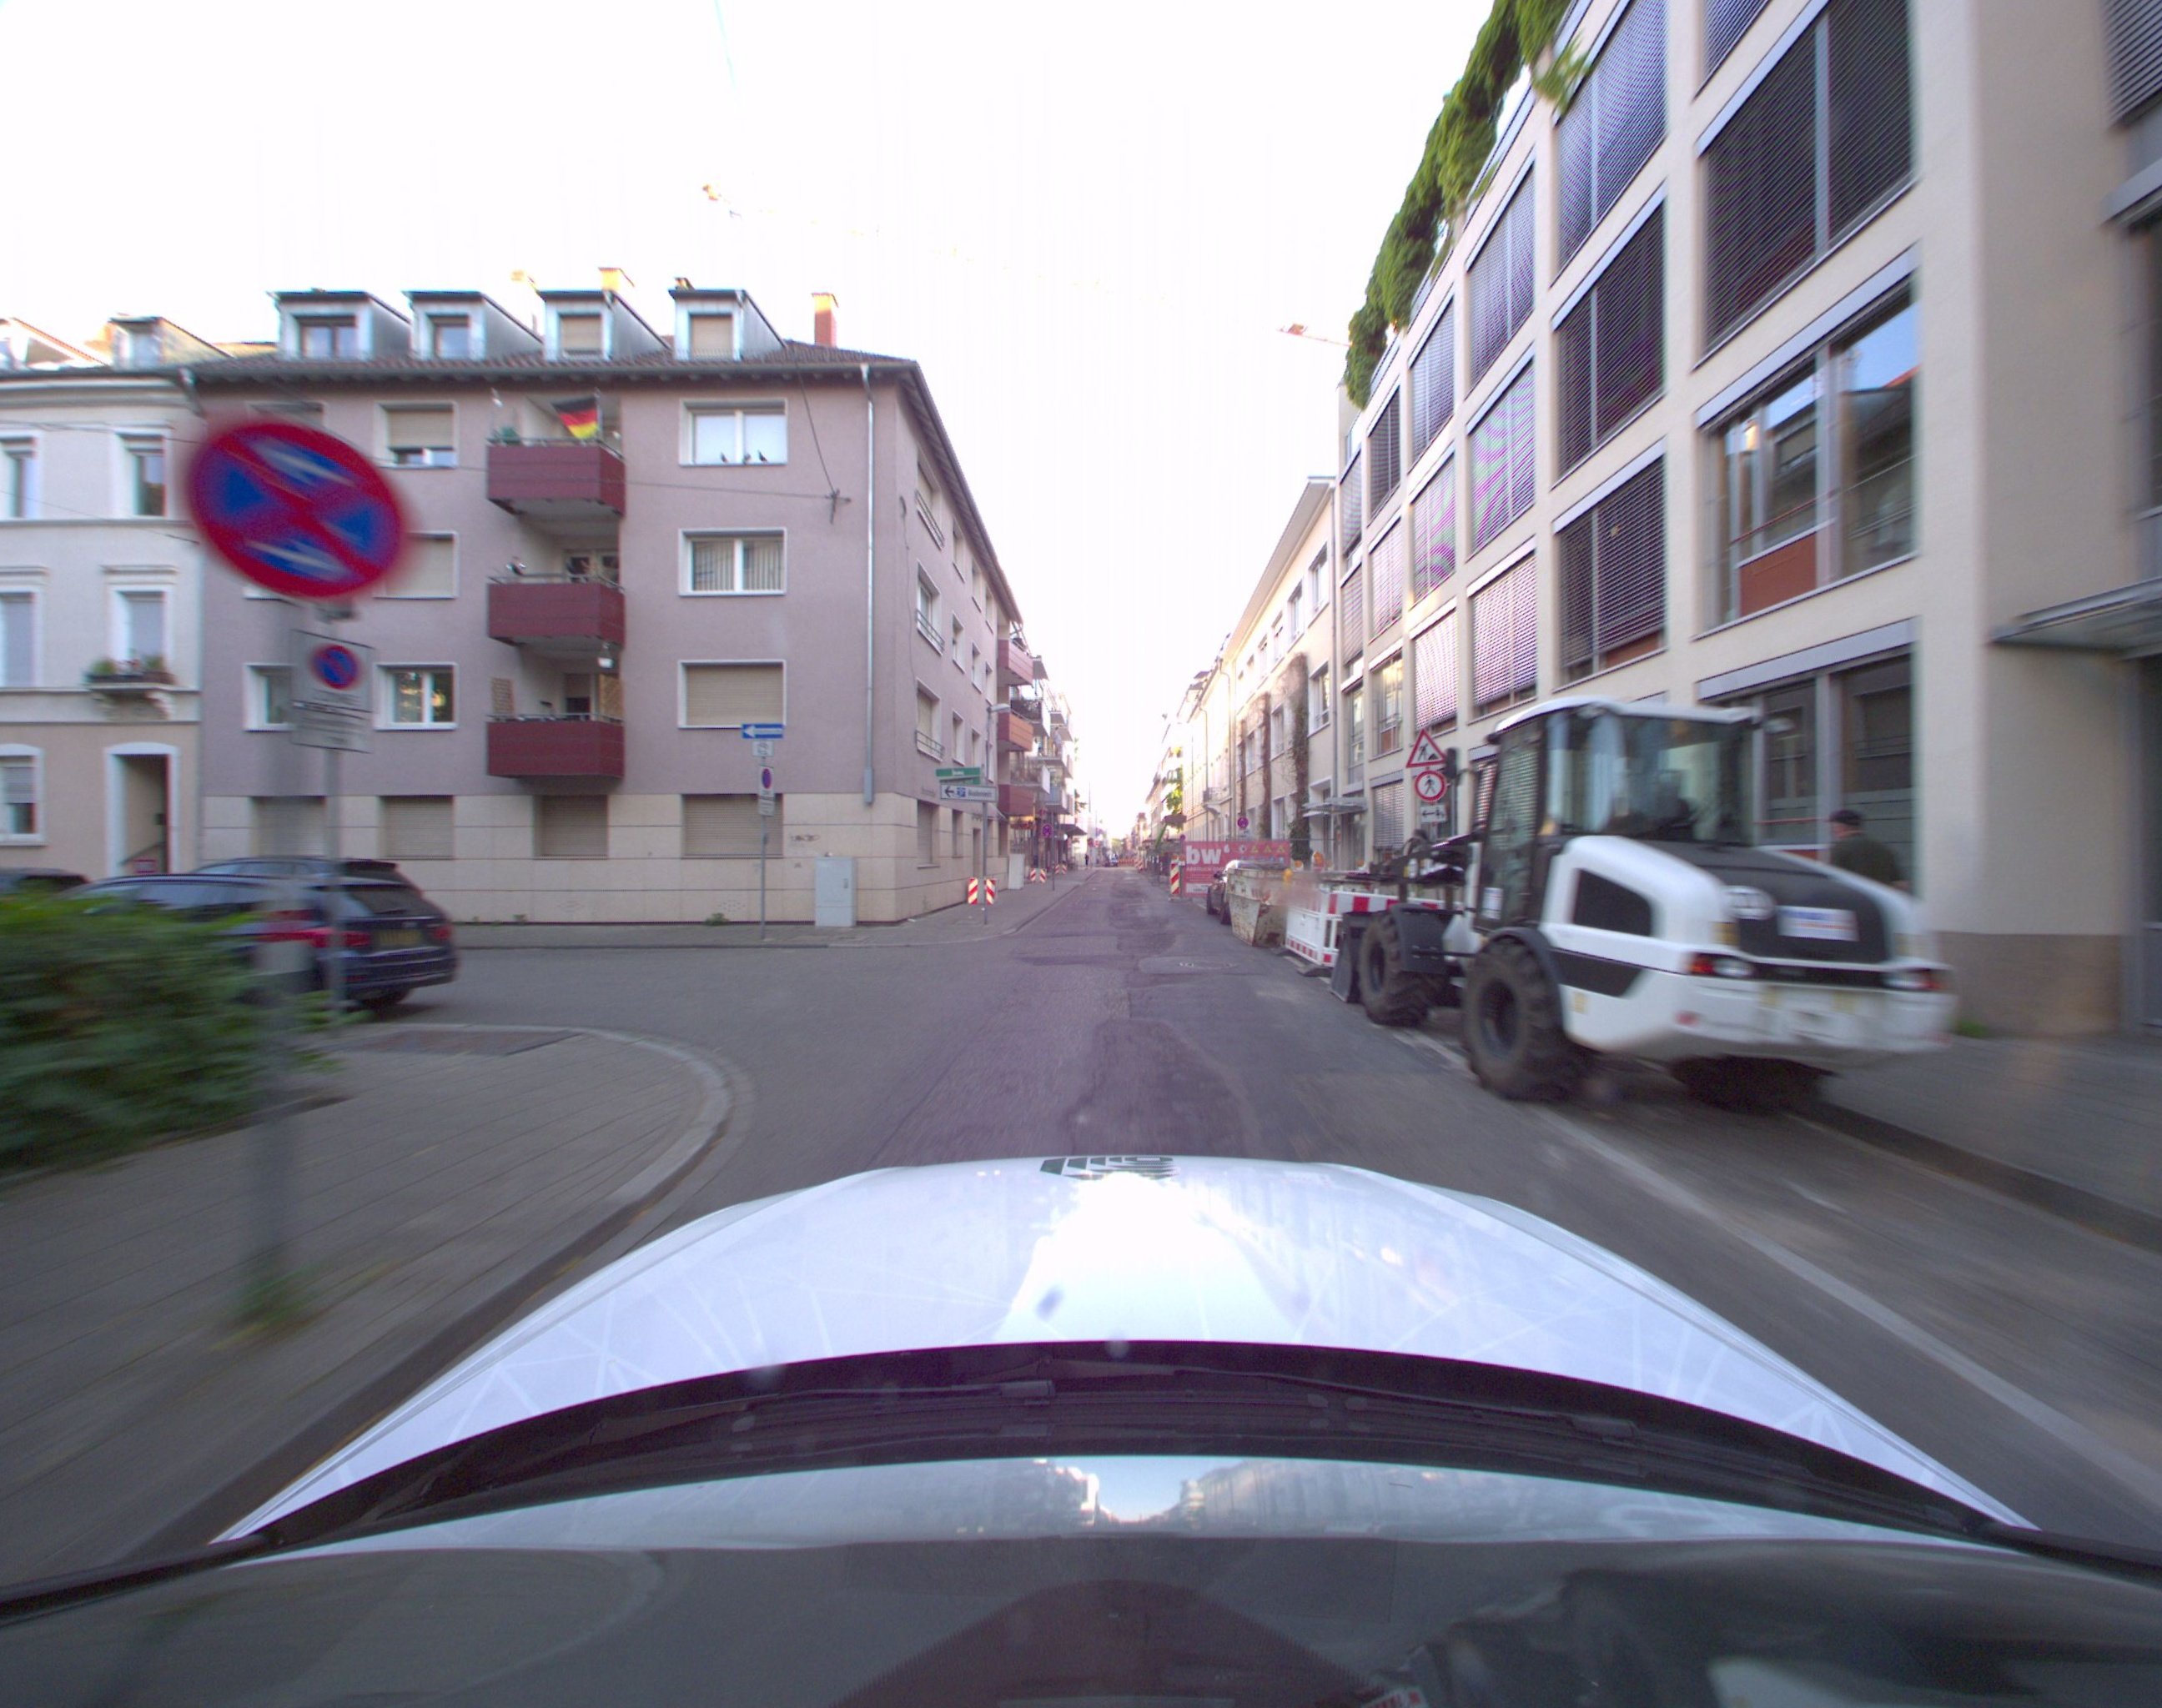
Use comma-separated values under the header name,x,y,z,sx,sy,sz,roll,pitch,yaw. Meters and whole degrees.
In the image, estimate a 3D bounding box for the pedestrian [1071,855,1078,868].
name,x,y,z,sx,sy,sz,roll,pitch,yaw
pedestrian,-0.641,0.723,78.345,0.570,1.275,0.714,2,0,2

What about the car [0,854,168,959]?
name,x,y,z,sx,sy,sz,roll,pitch,yaw
car,-18.431,0.870,13.741,3.947,1.635,1.821,0,-2,1

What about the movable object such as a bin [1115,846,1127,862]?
name,x,y,z,sx,sy,sz,roll,pitch,yaw
movable object such as a bin,6.838,0.007,139.709,2.148,2.664,4.575,0,0,2

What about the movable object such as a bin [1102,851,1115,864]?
name,x,y,z,sx,sy,sz,roll,pitch,yaw
movable object such as a bin,4.356,0.483,129.679,1.985,2.013,4.003,-1,0,3

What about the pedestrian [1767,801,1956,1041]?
name,x,y,z,sx,sy,sz,roll,pitch,yaw
pedestrian,6.271,0.514,6.589,0.802,1.819,0.722,-1,0,1

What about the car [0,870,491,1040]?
name,x,y,z,sx,sy,sz,roll,pitch,yaw
car,-8.707,0.920,8.121,4.356,1.482,1.727,0,-1,0

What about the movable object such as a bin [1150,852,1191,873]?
name,x,y,z,sx,sy,sz,roll,pitch,yaw
movable object such as a bin,7.169,0.641,66.106,2.726,1.638,7.555,0,0,2

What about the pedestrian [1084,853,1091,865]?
name,x,y,z,sx,sy,sz,roll,pitch,yaw
pedestrian,0.676,0.518,84.721,0.708,1.275,0.705,0,0,3

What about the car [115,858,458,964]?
name,x,y,z,sx,sy,sz,roll,pitch,yaw
car,-13.222,0.933,13.748,3.947,1.635,1.821,0,-2,1

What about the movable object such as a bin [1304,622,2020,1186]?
name,x,y,z,sx,sy,sz,roll,pitch,yaw
movable object such as a bin,3.546,0.199,6.768,2.007,2.623,5.755,2,1,3

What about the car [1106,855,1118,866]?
name,x,y,z,sx,sy,sz,roll,pitch,yaw
car,4.346,0.887,114.471,1.624,1.550,3.141,-1,0,-1

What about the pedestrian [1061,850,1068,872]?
name,x,y,z,sx,sy,sz,roll,pitch,yaw
pedestrian,-1.397,0.570,67.797,0.529,1.834,0.562,0,0,-4

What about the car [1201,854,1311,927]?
name,x,y,z,sx,sy,sz,roll,pitch,yaw
car,3.989,0.761,19.283,1.780,1.471,4.448,2,0,2

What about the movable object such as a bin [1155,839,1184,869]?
name,x,y,z,sx,sy,sz,roll,pitch,yaw
movable object such as a bin,8.701,0.011,80.509,2.594,2.839,4.453,-1,0,3

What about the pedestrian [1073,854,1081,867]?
name,x,y,z,sx,sy,sz,roll,pitch,yaw
pedestrian,-0.409,0.670,80.567,0.699,1.275,0.714,2,0,2
